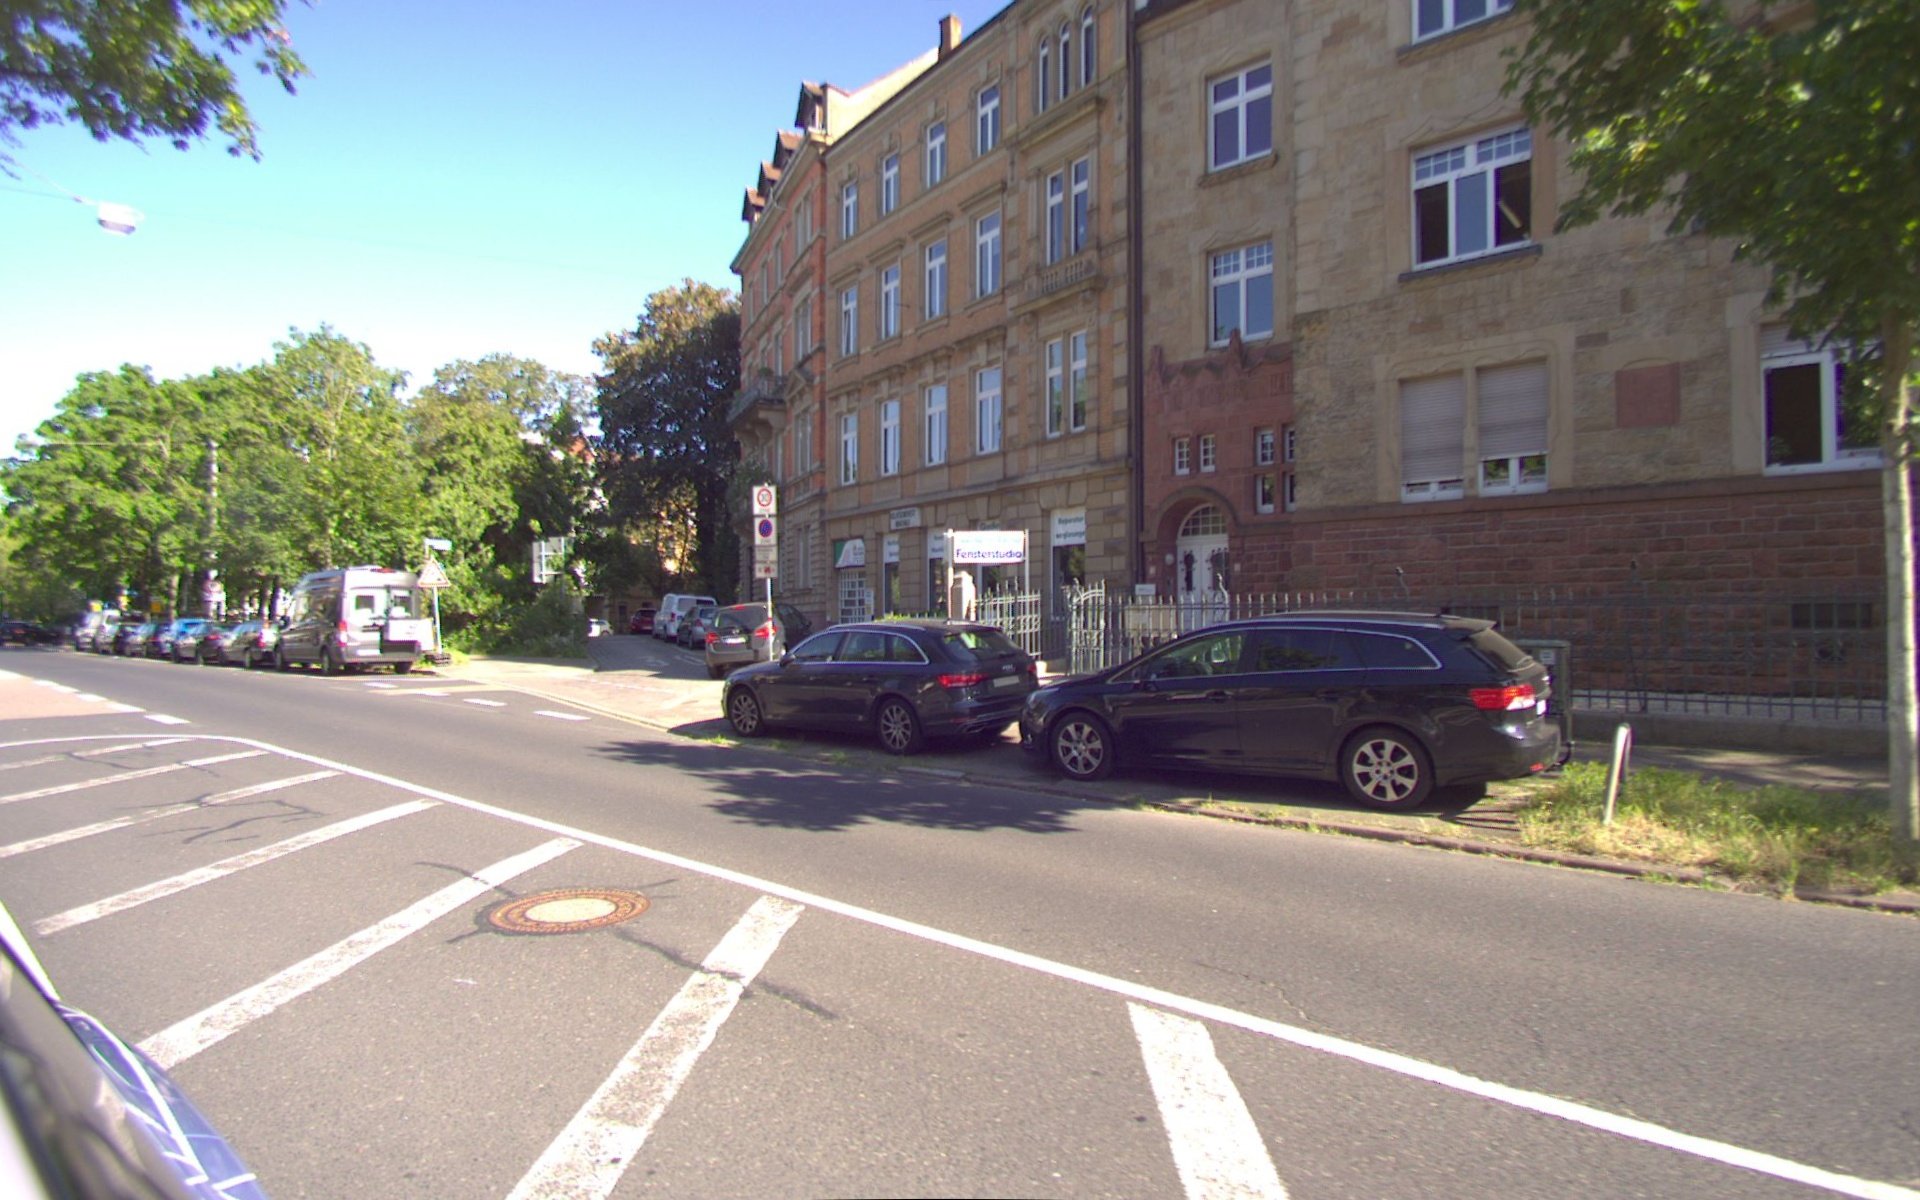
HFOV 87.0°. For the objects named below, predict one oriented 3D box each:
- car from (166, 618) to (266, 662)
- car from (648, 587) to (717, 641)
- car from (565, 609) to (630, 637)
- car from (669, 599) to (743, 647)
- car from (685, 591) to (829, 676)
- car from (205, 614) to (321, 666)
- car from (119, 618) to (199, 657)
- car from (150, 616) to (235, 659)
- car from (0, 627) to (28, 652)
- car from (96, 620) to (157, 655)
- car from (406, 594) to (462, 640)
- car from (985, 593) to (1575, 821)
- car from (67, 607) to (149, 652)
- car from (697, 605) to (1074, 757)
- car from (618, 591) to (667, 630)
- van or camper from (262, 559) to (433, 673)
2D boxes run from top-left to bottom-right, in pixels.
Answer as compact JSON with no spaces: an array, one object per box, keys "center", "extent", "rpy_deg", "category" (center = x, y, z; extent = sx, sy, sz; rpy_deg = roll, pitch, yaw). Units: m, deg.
[{"center":[-25.279,1.352,34.328],"extent":[4.402,1.424,1.762],"rpy_deg":[-2,-4,41],"category":"car"},{"center":[-10.874,0.537,39.435],"extent":[1.833,1.928,4.466],"rpy_deg":[2,-1,-25],"category":"car"},{"center":[-27.252,1.717,76.077],"extent":[4.374,1.928,1.871],"rpy_deg":[2,-1,-27],"category":"car"},{"center":[-8.822,0.768,34.956],"extent":[1.833,1.524,3.541],"rpy_deg":[2,-1,-25],"category":"car"},{"center":[-4.575,0.697,23.469],"extent":[1.977,1.682,4.135],"rpy_deg":[-3,1,8],"category":"car"},{"center":[-21.396,1.228,30.993],"extent":[4.659,1.468,1.676],"rpy_deg":[-1,-3,40],"category":"car"},{"center":[-32.749,1.525,41.345],"extent":[4.266,1.493,1.575],"rpy_deg":[0,-2,38],"category":"car"},{"center":[-29.133,1.383,38.361],"extent":[4.557,1.550,1.761],"rpy_deg":[-1,-2,42],"category":"car"},{"center":[-57.091,2.364,60.507],"extent":[4.131,1.461,1.576],"rpy_deg":[-1,-2,41],"category":"car"},{"center":[-37.653,1.665,45.683],"extent":[3.957,1.513,1.448],"rpy_deg":[-1,-3,41],"category":"car"},{"center":[-23.621,0.740,45.398],"extent":[1.833,1.928,4.465],"rpy_deg":[2,-1,-32],"category":"car"},{"center":[2.688,0.771,9.083],"extent":[4.697,1.505,1.839],"rpy_deg":[-1,2,36],"category":"car"},{"center":[-41.429,1.469,49.178],"extent":[4.867,2.052,1.965],"rpy_deg":[-1,-4,37],"category":"car"},{"center":[-1.082,0.859,12.486],"extent":[4.718,1.438,1.836],"rpy_deg":[-1,2,42],"category":"car"},{"center":[-16.761,0.553,53.279],"extent":[1.833,1.928,4.466],"rpy_deg":[2,-1,-25],"category":"car"},{"center":[-16.693,0.468,27.413],"extent":[6.085,2.760,2.193],"rpy_deg":[-2,-2,41],"category":"van or camper"}]
